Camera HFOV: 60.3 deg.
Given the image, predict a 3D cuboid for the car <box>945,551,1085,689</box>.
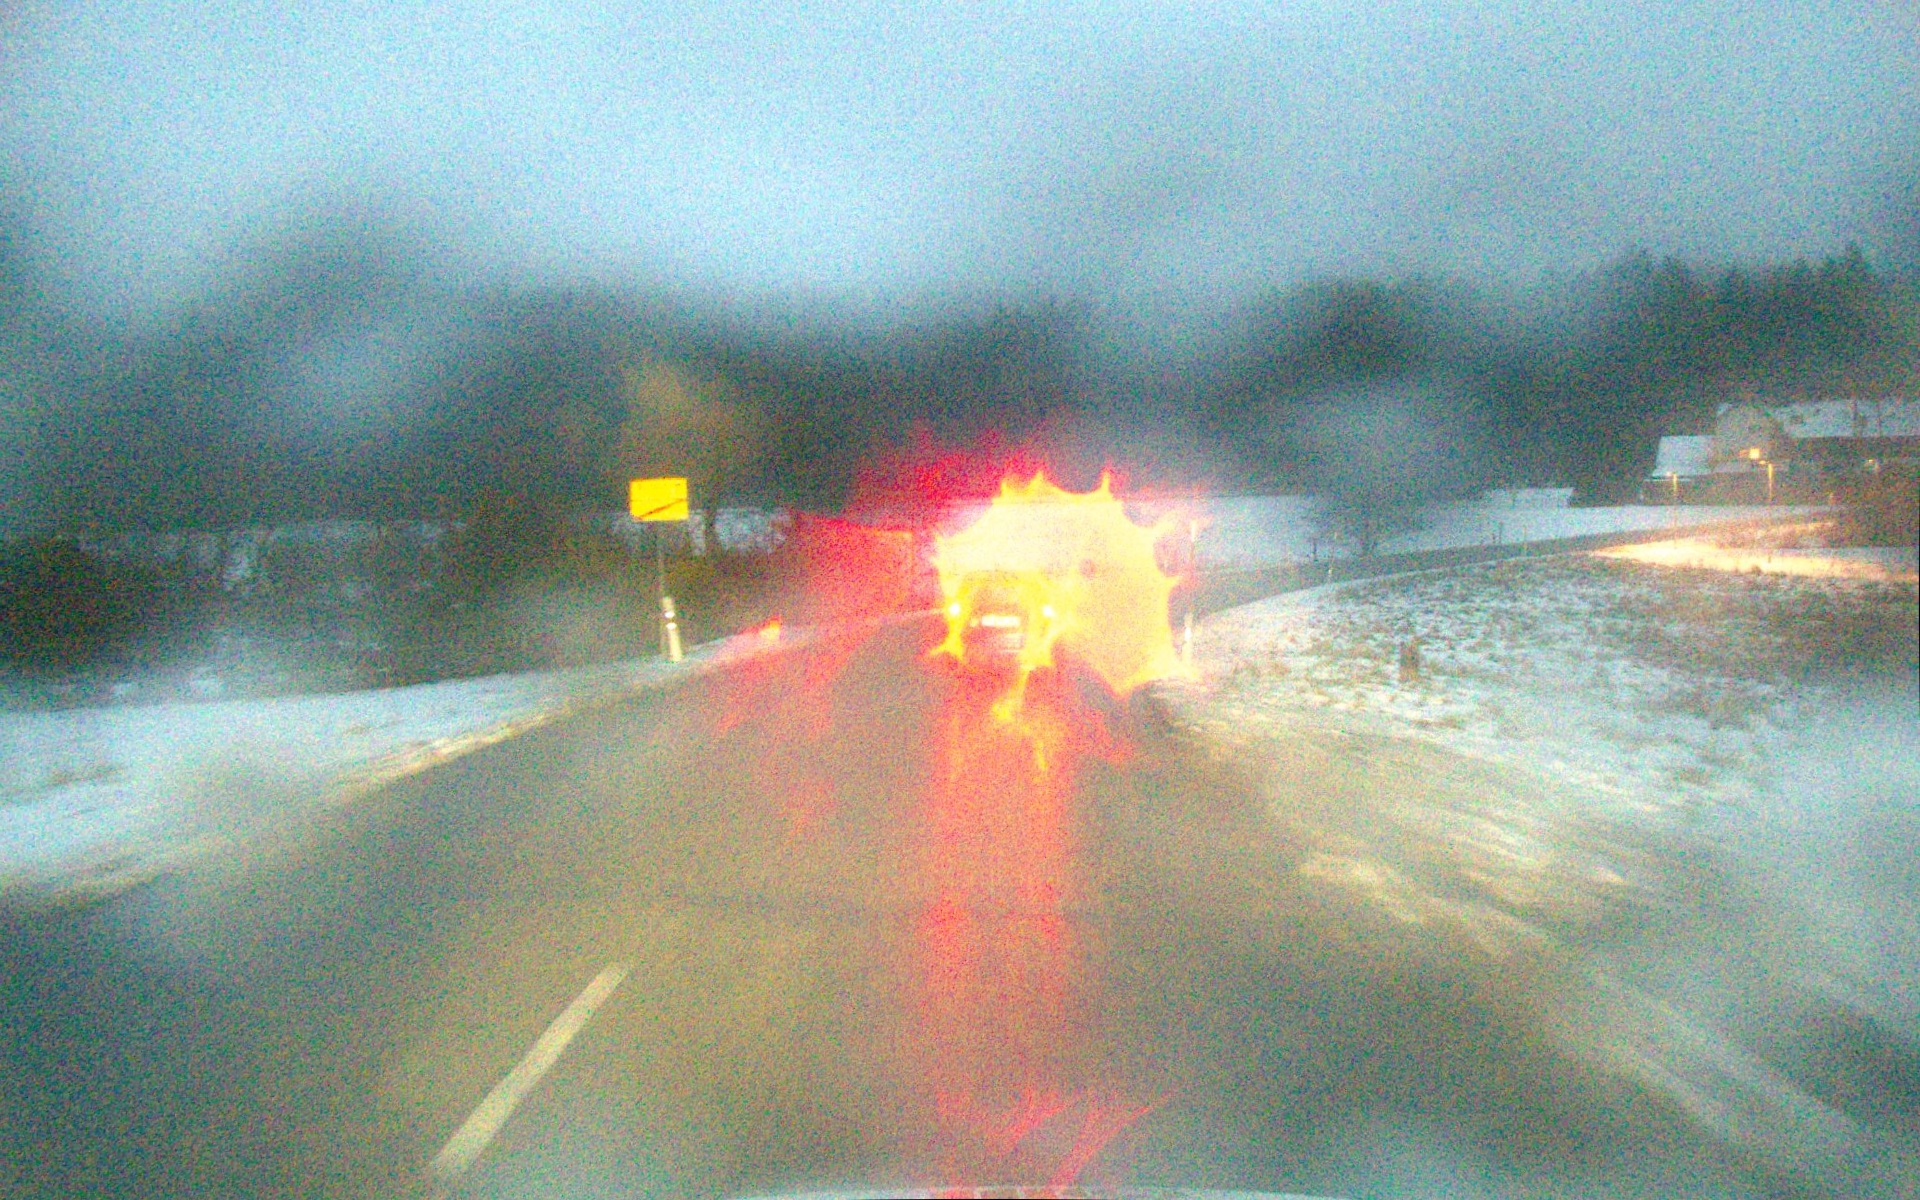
[{"bbox_3d":[0.721,0.279,23.776,1.785,1.828,3.576,0,0,-2],"label":"car"}]
